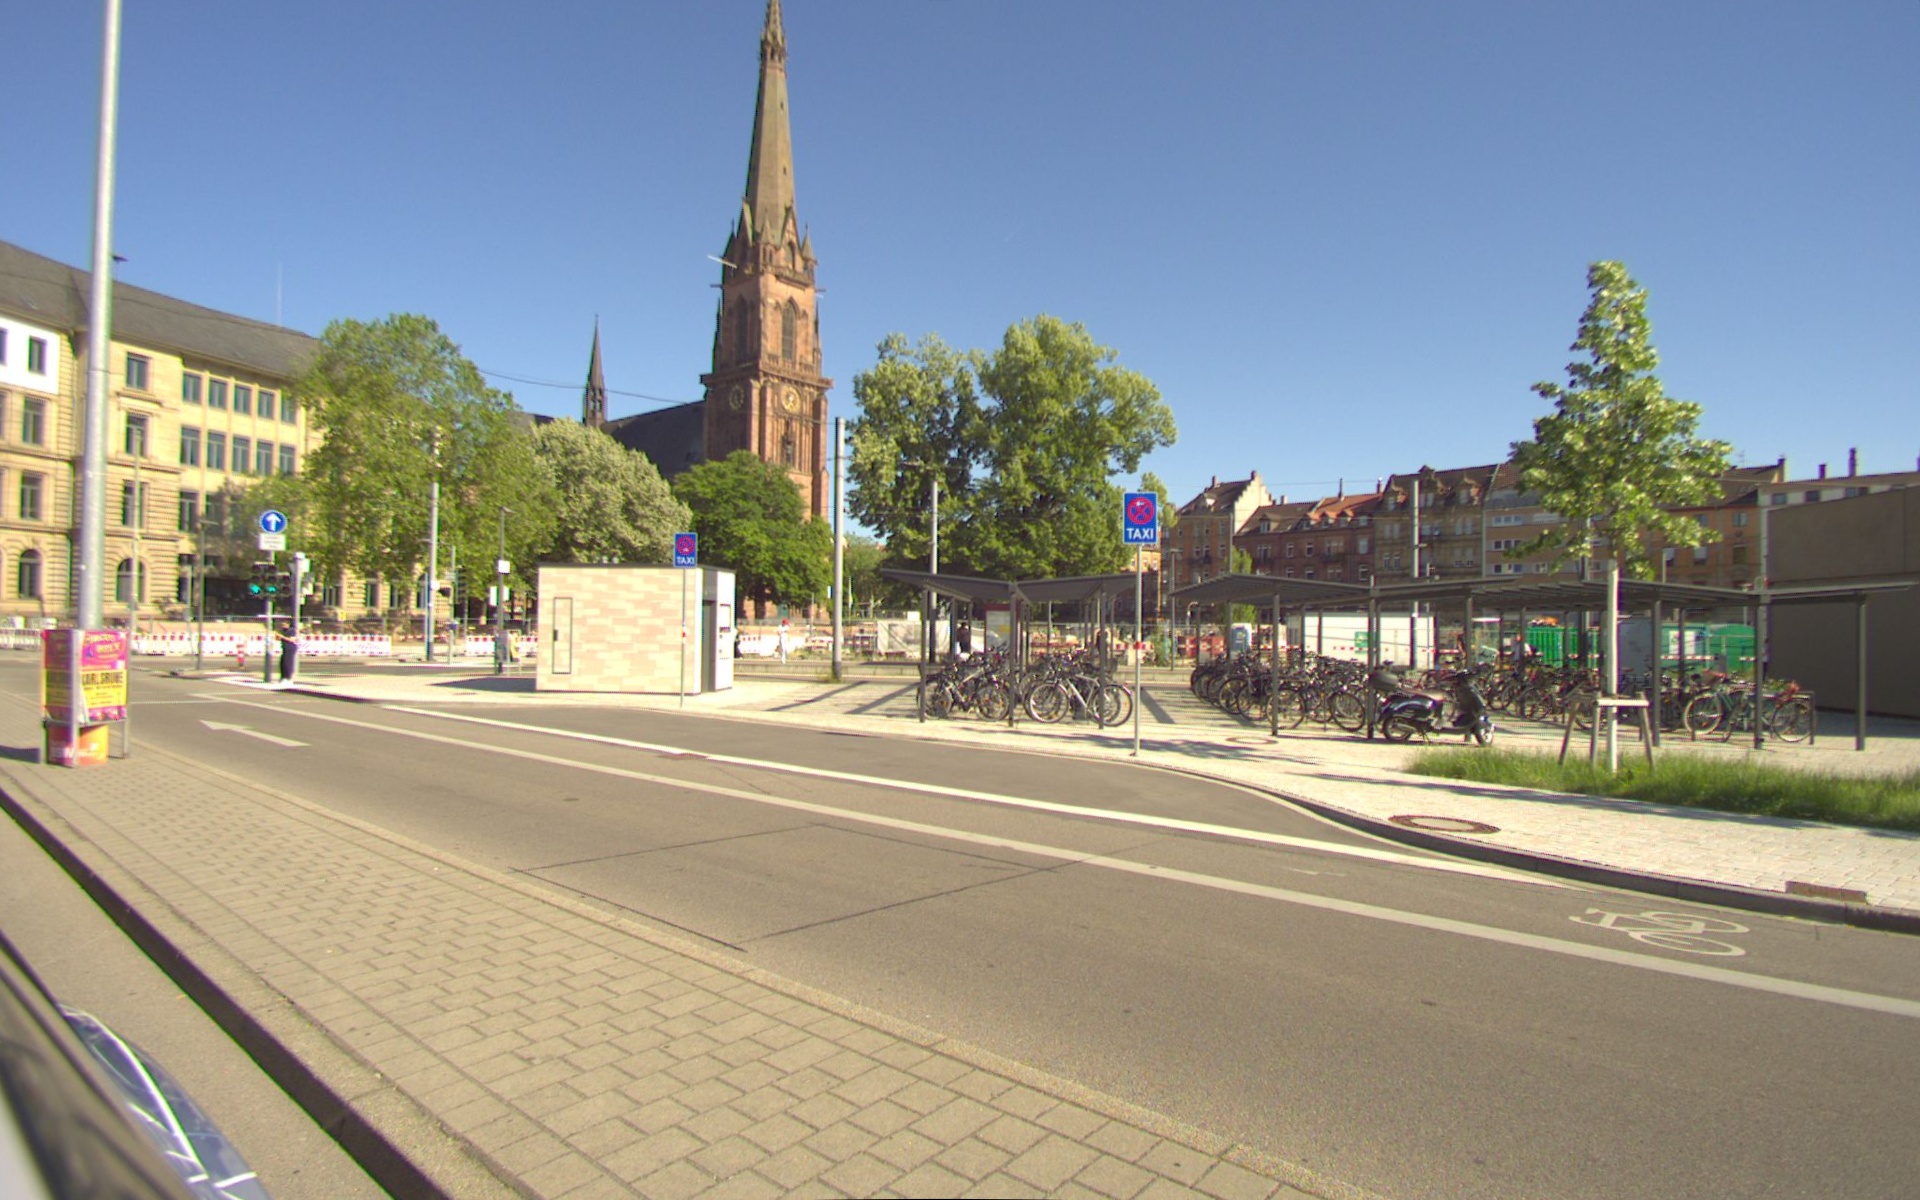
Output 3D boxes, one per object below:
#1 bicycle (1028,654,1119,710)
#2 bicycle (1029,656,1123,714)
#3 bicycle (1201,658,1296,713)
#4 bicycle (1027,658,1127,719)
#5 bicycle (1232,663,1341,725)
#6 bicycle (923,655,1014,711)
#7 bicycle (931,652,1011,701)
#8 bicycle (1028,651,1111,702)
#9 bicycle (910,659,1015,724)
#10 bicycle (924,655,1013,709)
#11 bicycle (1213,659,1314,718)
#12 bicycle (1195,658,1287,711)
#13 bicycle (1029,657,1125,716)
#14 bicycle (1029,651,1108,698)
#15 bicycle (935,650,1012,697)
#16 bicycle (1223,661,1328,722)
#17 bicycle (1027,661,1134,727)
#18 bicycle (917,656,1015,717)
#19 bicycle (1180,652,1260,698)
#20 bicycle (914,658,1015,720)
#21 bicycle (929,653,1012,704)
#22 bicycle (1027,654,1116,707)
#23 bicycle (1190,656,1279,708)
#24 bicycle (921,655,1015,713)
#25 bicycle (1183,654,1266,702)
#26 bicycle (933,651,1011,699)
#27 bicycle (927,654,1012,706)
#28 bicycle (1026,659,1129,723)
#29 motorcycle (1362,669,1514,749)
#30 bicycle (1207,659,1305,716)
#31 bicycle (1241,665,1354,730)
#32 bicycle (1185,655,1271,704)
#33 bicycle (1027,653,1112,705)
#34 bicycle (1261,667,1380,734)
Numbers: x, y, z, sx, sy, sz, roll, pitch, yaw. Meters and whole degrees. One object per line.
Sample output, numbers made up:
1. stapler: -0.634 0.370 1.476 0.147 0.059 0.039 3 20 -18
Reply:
1. bicycle: 2.268 1.641 20.395 1.765 1.046 0.567 1 -3 4
2. bicycle: 2.249 1.652 19.779 1.765 1.046 0.567 1 -3 4
3. bicycle: 5.896 1.746 20.712 1.765 1.046 0.567 1 -3 4
4. bicycle: 2.136 1.620 18.570 1.765 1.046 0.567 1 -3 4
5. bicycle: 5.836 1.674 18.137 1.765 1.046 0.567 1 -3 4
6. bicycle: 0.178 1.637 20.165 1.765 1.046 0.567 1 -3 4
7. bicycle: 0.256 1.707 22.658 1.765 1.046 0.567 1 -3 4
8. bicycle: 2.391 1.672 22.234 1.765 1.046 0.567 1 -3 4
9. bicycle: 0.051 1.564 17.441 1.765 1.046 0.567 1 -3 4
10. bicycle: 0.184 1.669 20.781 1.765 1.046 0.567 1 -3 4
11. bicycle: 5.805 1.690 19.426 1.765 1.046 0.567 1 -3 4
12. bicycle: 5.903 1.767 21.311 1.765 1.046 0.567 1 -3 4
13. bicycle: 2.200 1.633 19.180 1.765 1.046 0.567 1 -3 4
14. bicycle: 2.509 1.723 23.559 1.765 1.046 0.567 1 -3 4
15. bicycle: 0.334 1.728 23.852 1.765 1.046 0.567 1 -3 4
16. bicycle: 5.839 1.692 18.795 1.765 1.046 0.567 1 -3 4
17. bicycle: 2.039 1.599 17.280 1.765 1.046 0.567 1 -3 4
18. bicycle: 0.122 1.601 18.846 1.765 1.046 0.567 1 -3 4
19. bicycle: 6.224 1.791 24.265 1.765 1.046 0.567 1 -3 4
20. bicycle: 0.087 1.579 18.092 1.765 1.046 0.567 1 -3 4
21. bicycle: 0.233 1.697 22.063 1.765 1.046 0.567 1 -3 4
22. bicycle: 2.300 1.662 20.995 1.765 1.046 0.567 1 -3 4
23. bicycle: 5.921 1.770 21.906 1.765 1.046 0.567 1 -3 4
24. bicycle: 0.160 1.614 19.534 1.765 1.046 0.567 1 -3 4
25. bicycle: 6.125 1.793 23.500 1.765 1.046 0.567 1 -3 4
26. bicycle: 0.288 1.718 23.260 1.765 1.046 0.567 1 -3 4
27. bicycle: 0.212 1.683 21.397 1.765 1.046 0.567 1 -3 4
28. bicycle: 2.069 1.603 17.930 1.765 1.046 0.567 1 -3 4
29. motorcycle: 7.167 1.624 15.243 1.962 1.128 0.593 0 -2 8
30. bicycle: 5.857 1.728 20.098 1.765 1.046 0.567 1 -3 4
31. bicycle: 5.836 1.674 17.551 1.765 1.046 0.567 1 -3 4
32. bicycle: 6.016 1.776 22.776 1.765 1.046 0.567 1 -3 4
33. bicycle: 2.328 1.673 21.634 1.765 1.046 0.567 1 -3 4
34. bicycle: 6.021 1.672 16.953 1.765 1.046 0.567 1 -3 4
